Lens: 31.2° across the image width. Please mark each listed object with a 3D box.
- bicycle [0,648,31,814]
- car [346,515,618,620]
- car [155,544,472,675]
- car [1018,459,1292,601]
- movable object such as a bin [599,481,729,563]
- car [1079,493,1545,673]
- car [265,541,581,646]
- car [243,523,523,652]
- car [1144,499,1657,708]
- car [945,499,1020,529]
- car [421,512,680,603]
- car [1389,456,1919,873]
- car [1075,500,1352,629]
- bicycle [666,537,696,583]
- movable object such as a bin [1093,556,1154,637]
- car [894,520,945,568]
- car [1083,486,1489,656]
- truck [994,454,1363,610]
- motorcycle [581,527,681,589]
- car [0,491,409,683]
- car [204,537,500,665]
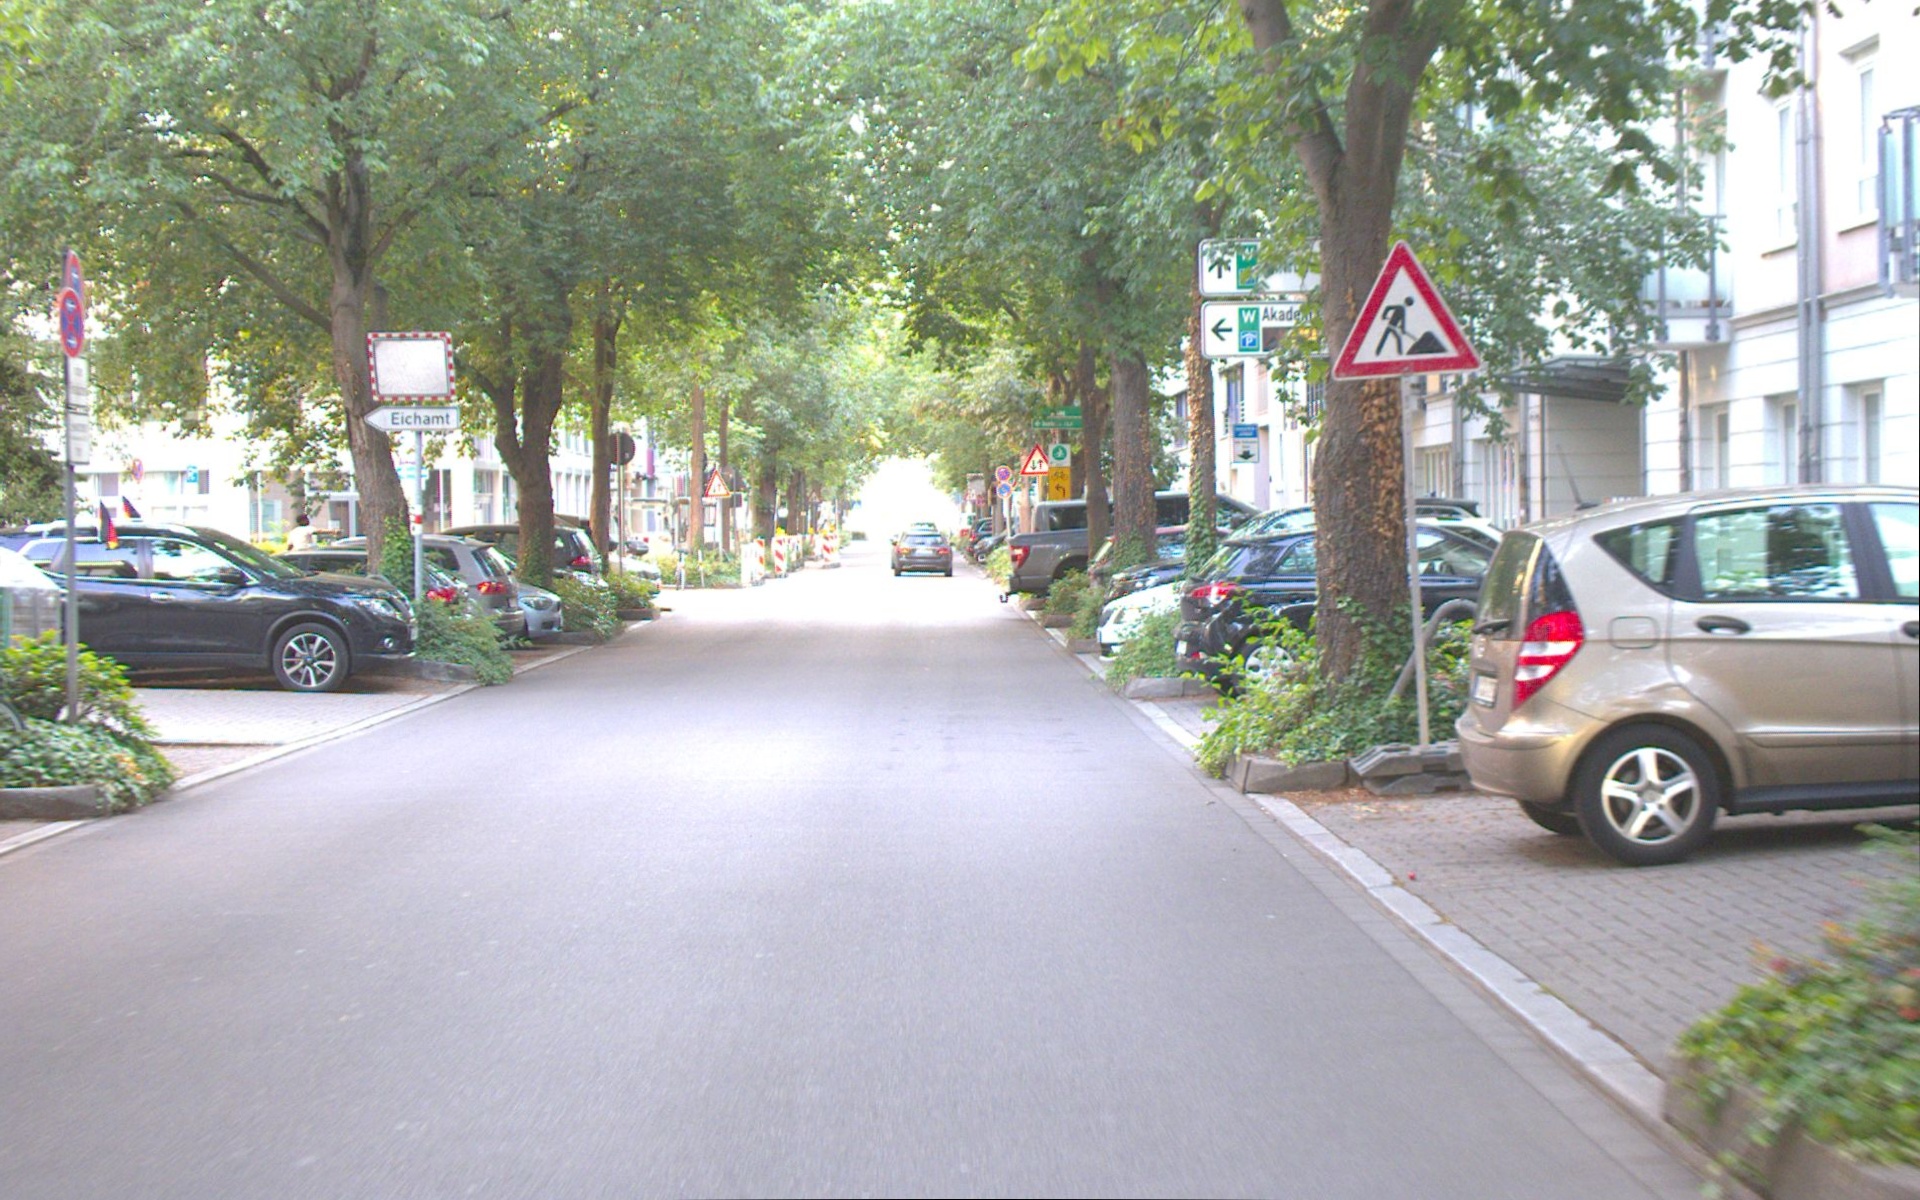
[{"bbox_3d":[-6.158,0.773,19.666,1.555,0.933,0.484,-2,1,-23],"label":"bicycle"},{"bbox_3d":[-8.082,-0.565,58.427,4.395,1.679,2.064,1,1,-2],"label":"car"},{"bbox_3d":[-7.460,0.090,39.891,3.404,1.437,1.594,-1,1,-2],"label":"car"},{"bbox_3d":[3.447,-1.251,61.459,4.620,2.125,2.037,-5,1,0],"label":"car"},{"bbox_3d":[-8.694,-2.299,101.349,3.665,2.325,2.584,-1,1,-2],"label":"movable object such as a bin"},{"bbox_3d":[3.612,-0.189,35.839,4.572,1.546,1.773,-4,1,-1],"label":"car"},{"bbox_3d":[-7.324,-0.106,47.154,4.099,1.375,1.747,0,1,-2],"label":"car"},{"bbox_3d":[-7.511,-0.179,44.993,3.404,1.604,1.761,-1,1,-2],"label":"car"},{"bbox_3d":[3.732,0.005,29.577,3.986,1.469,1.914,-4,1,-4],"label":"car"},{"bbox_3d":[1.242,-4.730,189.443,3.986,1.592,2.000,-1,1,-4],"label":"car"},{"bbox_3d":[-7.524,-0.785,63.498,4.498,1.576,2.055,1,1,0],"label":"car"},{"bbox_3d":[4.046,0.199,15.599,3.862,1.661,1.926,-3,1,0],"label":"car"},{"bbox_3d":[3.597,-0.496,49.227,3.664,1.543,1.781,-4,0,-2],"label":"car"},{"bbox_3d":[-7.011,-1.012,86.465,0.601,1.114,1.800,-1,1,-1],"label":"bicycle"},{"bbox_3d":[2.195,-0.049,46.260,0.774,1.064,0.589,-1,1,-1],"label":"movable object such as a bin"},{"bbox_3d":[-1.234,-1.748,105.887,1.500,1.411,3.714,-1,1,-1],"label":"car"},{"bbox_3d":[3.829,-0.357,40.779,4.382,1.698,1.896,-4,1,-8],"label":"car"},{"bbox_3d":[3.689,-1.163,58.913,6.004,2.125,2.261,-5,1,0],"label":"truck"},{"bbox_3d":[-7.965,-1.025,83.288,2.373,1.436,0.801,-2,2,-40],"label":"motorcycle"},{"bbox_3d":[-7.950,-0.147,34.885,4.418,1.886,2.000,0,1,-1],"label":"car"},{"bbox_3d":[-7.483,-0.004,42.539,3.404,1.501,1.665,-1,1,-2],"label":"car"}]
